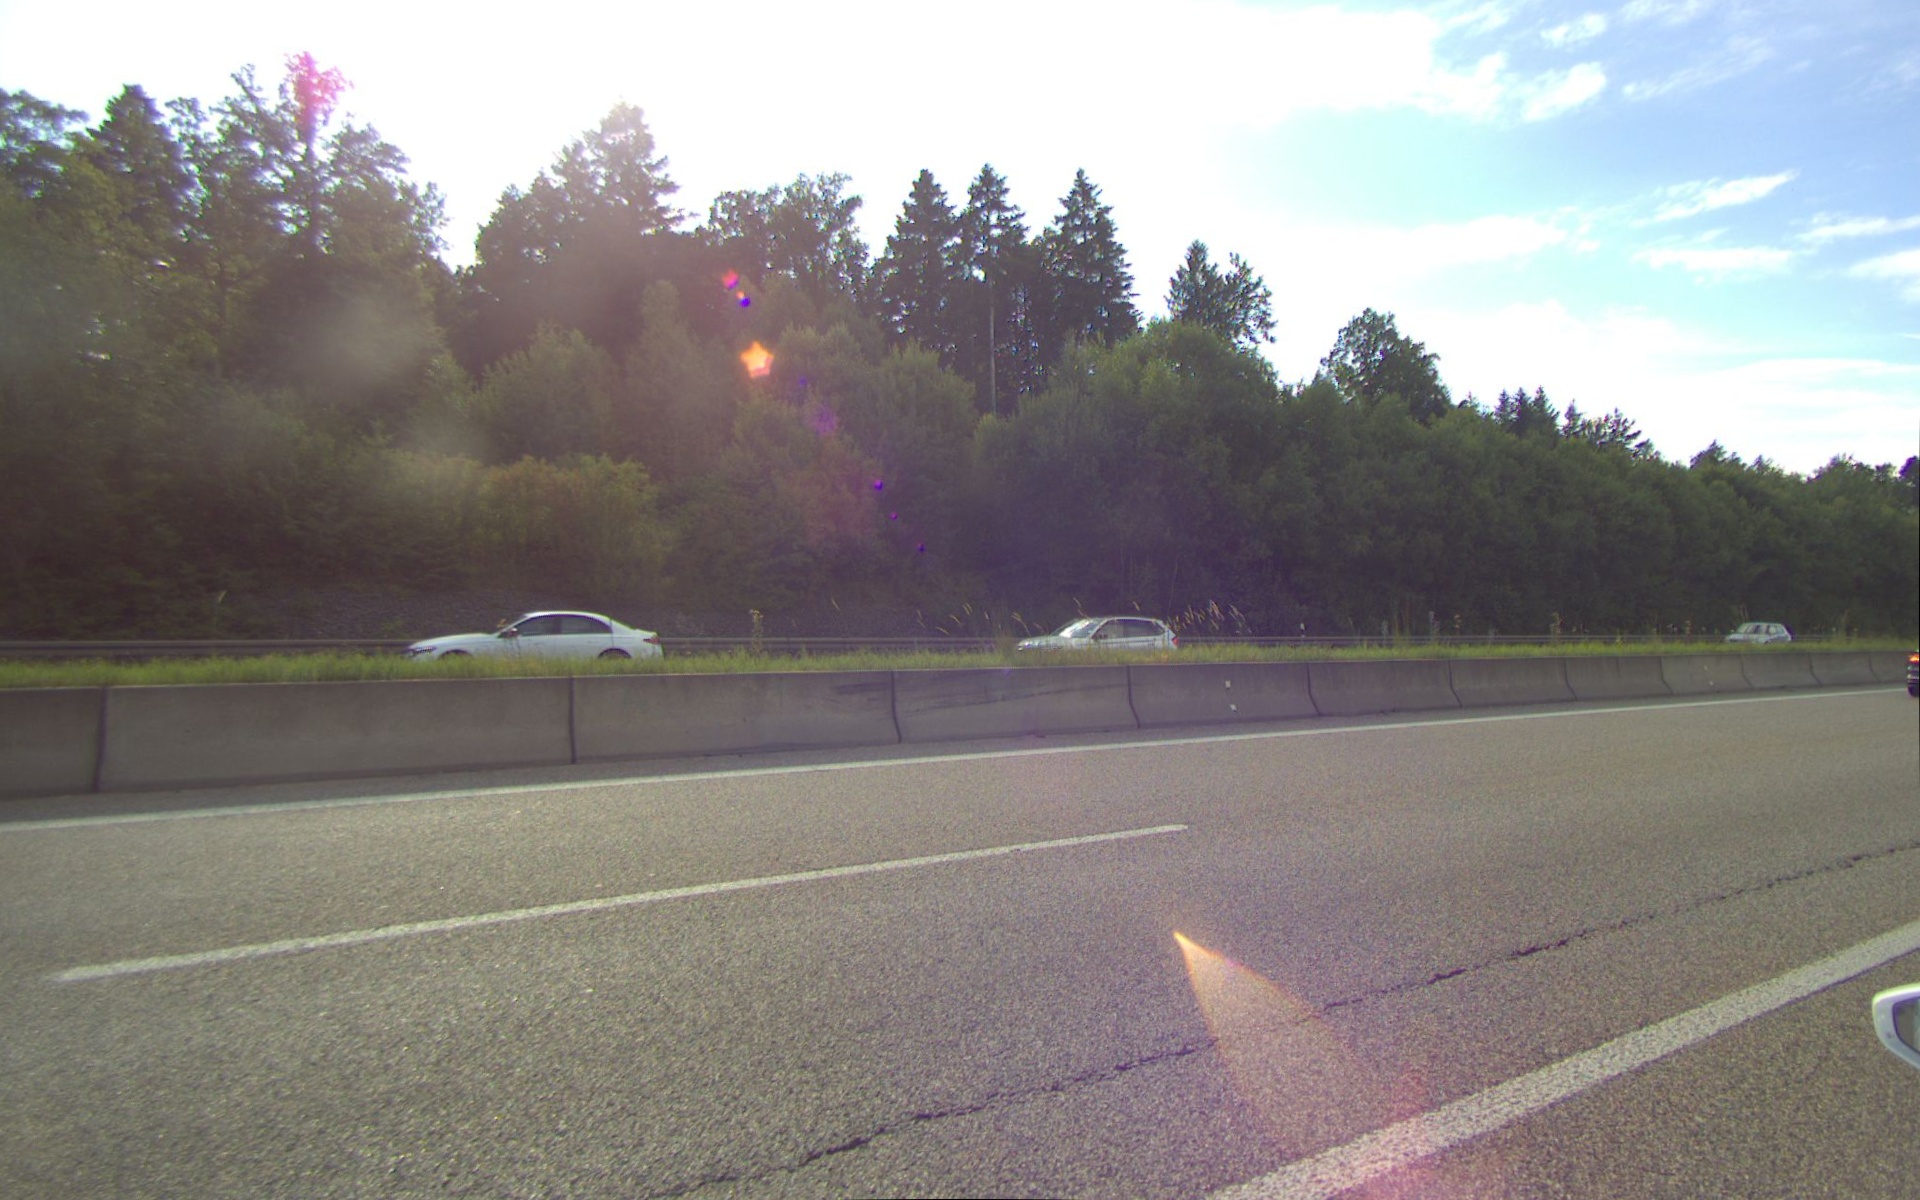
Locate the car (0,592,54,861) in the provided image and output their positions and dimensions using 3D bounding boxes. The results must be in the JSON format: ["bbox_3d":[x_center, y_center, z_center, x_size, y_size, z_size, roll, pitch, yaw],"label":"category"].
[{"bbox_3d":[-7.348,0.687,4.702,4.282,1.537,1.827,1,-1,-30],"label":"car"}]

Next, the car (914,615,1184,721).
[{"bbox_3d":[2.127,1.463,23.360,5.896,2.167,2.567,1,-1,-30],"label":"car"}]

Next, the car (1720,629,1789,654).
[{"bbox_3d":[38.051,1.961,48.098,3.136,1.108,1.584,1,-1,-30],"label":"car"}]

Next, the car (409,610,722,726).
[{"bbox_3d":[-8.338,1.324,21.399,5.896,2.167,2.567,1,-1,-30],"label":"car"}]

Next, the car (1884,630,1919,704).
[{"bbox_3d":[21.298,1.378,20.819,4.784,1.450,1.847,1,-1,-30],"label":"car"}]
